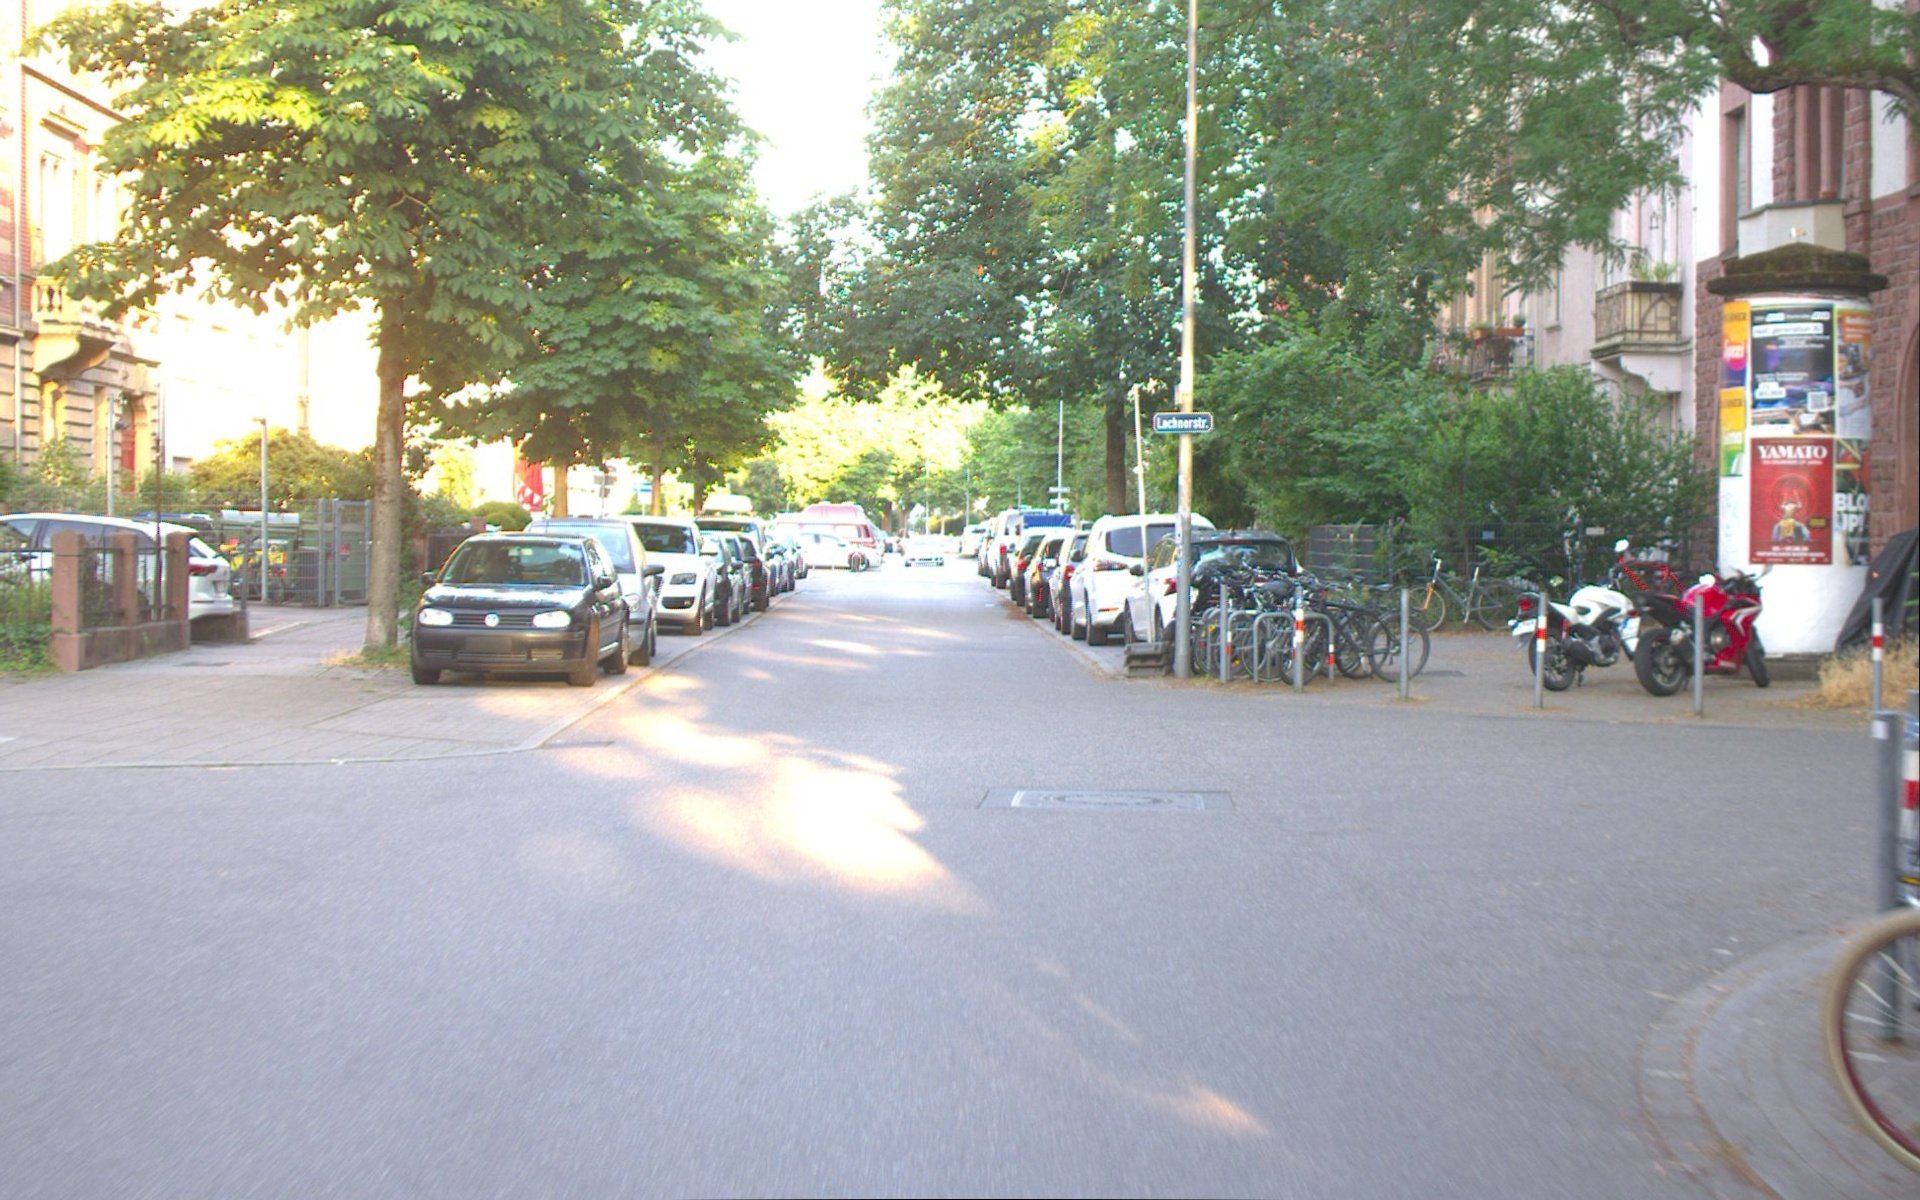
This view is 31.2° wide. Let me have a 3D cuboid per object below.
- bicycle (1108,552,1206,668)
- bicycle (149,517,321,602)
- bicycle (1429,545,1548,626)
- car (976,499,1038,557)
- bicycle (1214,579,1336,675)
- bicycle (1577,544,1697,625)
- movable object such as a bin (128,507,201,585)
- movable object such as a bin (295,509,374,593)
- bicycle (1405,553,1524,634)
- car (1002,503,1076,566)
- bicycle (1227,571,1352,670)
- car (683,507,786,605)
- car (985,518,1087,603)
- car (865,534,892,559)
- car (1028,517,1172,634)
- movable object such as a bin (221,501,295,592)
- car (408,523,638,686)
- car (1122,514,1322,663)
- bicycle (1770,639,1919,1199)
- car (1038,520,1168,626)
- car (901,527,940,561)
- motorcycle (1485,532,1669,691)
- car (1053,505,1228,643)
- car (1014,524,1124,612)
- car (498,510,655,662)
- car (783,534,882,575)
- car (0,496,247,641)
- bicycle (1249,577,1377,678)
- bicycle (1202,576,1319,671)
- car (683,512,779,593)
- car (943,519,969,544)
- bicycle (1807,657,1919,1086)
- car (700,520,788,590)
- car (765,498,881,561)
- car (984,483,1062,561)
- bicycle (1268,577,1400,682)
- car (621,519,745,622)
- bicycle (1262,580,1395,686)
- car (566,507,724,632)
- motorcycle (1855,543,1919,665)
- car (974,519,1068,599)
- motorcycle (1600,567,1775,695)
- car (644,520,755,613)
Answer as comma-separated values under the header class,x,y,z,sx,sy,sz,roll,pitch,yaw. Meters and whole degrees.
class,x,y,z,sx,sy,sz,roll,pitch,yaw
bicycle,2.061,0.088,35.814,0.444,1.169,1.634,1,1,24
bicycle,-11.426,-0.648,54.198,2.529,1.188,0.643,3,2,5
bicycle,7.002,-0.193,45.577,1.509,1.030,0.330,-1,2,-2
car,1.470,-2.277,109.114,1.686,1.805,3.940,1,1,-3
bicycle,3.205,0.269,34.988,1.224,0.944,0.330,-1,3,-22
bicycle,8.909,-0.210,45.257,1.509,1.030,0.330,-1,2,-2
movable object such as a bin,-13.132,-0.896,56.726,1.096,1.205,1.005,2,2,-14
movable object such as a bin,-10.300,-0.816,56.638,1.013,1.316,1.005,3,2,4
bicycle,6.615,-0.086,45.104,1.509,1.030,0.330,-1,2,-2
car,1.926,-1.604,84.398,1.538,1.516,3.432,1,1,-3
bicycle,3.285,0.197,34.285,1.224,0.954,0.330,-1,3,-22
car,-4.264,-0.864,65.367,1.715,1.784,4.216,1,2,-1
car,1.476,-0.795,68.192,1.686,1.600,3.940,1,1,-3
car,-5.384,-3.567,227.903,1.715,1.590,3.483,1,2,-1
car,1.994,-0.375,50.037,1.686,1.600,4.210,1,1,-3
movable object such as a bin,-11.533,-0.883,56.464,1.096,1.409,1.005,2,2,-14
car,-4.229,-0.004,33.769,1.616,1.465,3.961,1,2,2
car,2.918,-0.169,38.938,1.686,1.586,3.659,0,2,-5
bicycle,2.887,0.702,7.970,1.902,1.254,0.407,-2,1,-6
car,2.244,-0.445,54.680,1.686,1.600,3.749,1,1,-3
car,-1.923,-2.754,167.128,1.813,1.590,3.483,1,2,-1
motorcycle,5.838,0.087,32.425,0.585,1.403,2.207,2,3,43
car,2.298,-0.366,44.858,1.798,1.705,4.602,0,1,-3
car,1.868,-0.574,60.118,1.686,1.436,4.210,-1,1,-1
car,-4.273,-0.193,38.674,1.595,1.598,3.745,1,2,-4
car,-4.757,-1.690,128.235,3.618,1.456,1.607,1,1,-4
car,-10.697,-0.424,40.753,4.092,1.522,1.709,3,1,-2
bicycle,3.481,0.265,33.895,1.223,0.960,0.330,-1,2,-17
bicycle,3.116,0.239,35.600,1.224,0.948,0.330,-1,3,-28
car,-4.657,-0.991,70.446,1.715,1.590,4.519,1,1,-1
car,-0.272,-4.543,227.566,1.715,1.590,3.483,1,2,-1
bicycle,3.002,0.783,10.734,0.405,1.106,2.154,-2,1,7
car,-4.713,-1.001,75.440,1.715,1.460,3.987,1,2,-1
car,-5.223,-2.674,130.756,4.349,2.310,1.746,1,1,-2
car,1.599,-1.989,88.374,1.680,1.934,3.881,1,1,-3
bicycle,3.624,0.283,33.344,1.224,0.984,0.330,-1,2,-4
car,-4.395,-0.478,54.944,1.715,1.561,3.781,1,1,-1
bicycle,3.536,0.312,32.976,1.224,0.983,0.330,-1,2,-2
car,-4.508,-0.482,49.822,1.921,1.711,4.428,1,2,-1
motorcycle,9.094,0.013,32.049,0.437,1.076,2.105,2,3,45
car,1.256,-0.872,72.363,1.686,1.600,3.940,1,1,-3
motorcycle,6.680,0.268,31.492,0.437,1.076,2.207,2,3,45
car,-4.592,-0.612,61.063,1.715,1.561,3.788,1,2,-1
